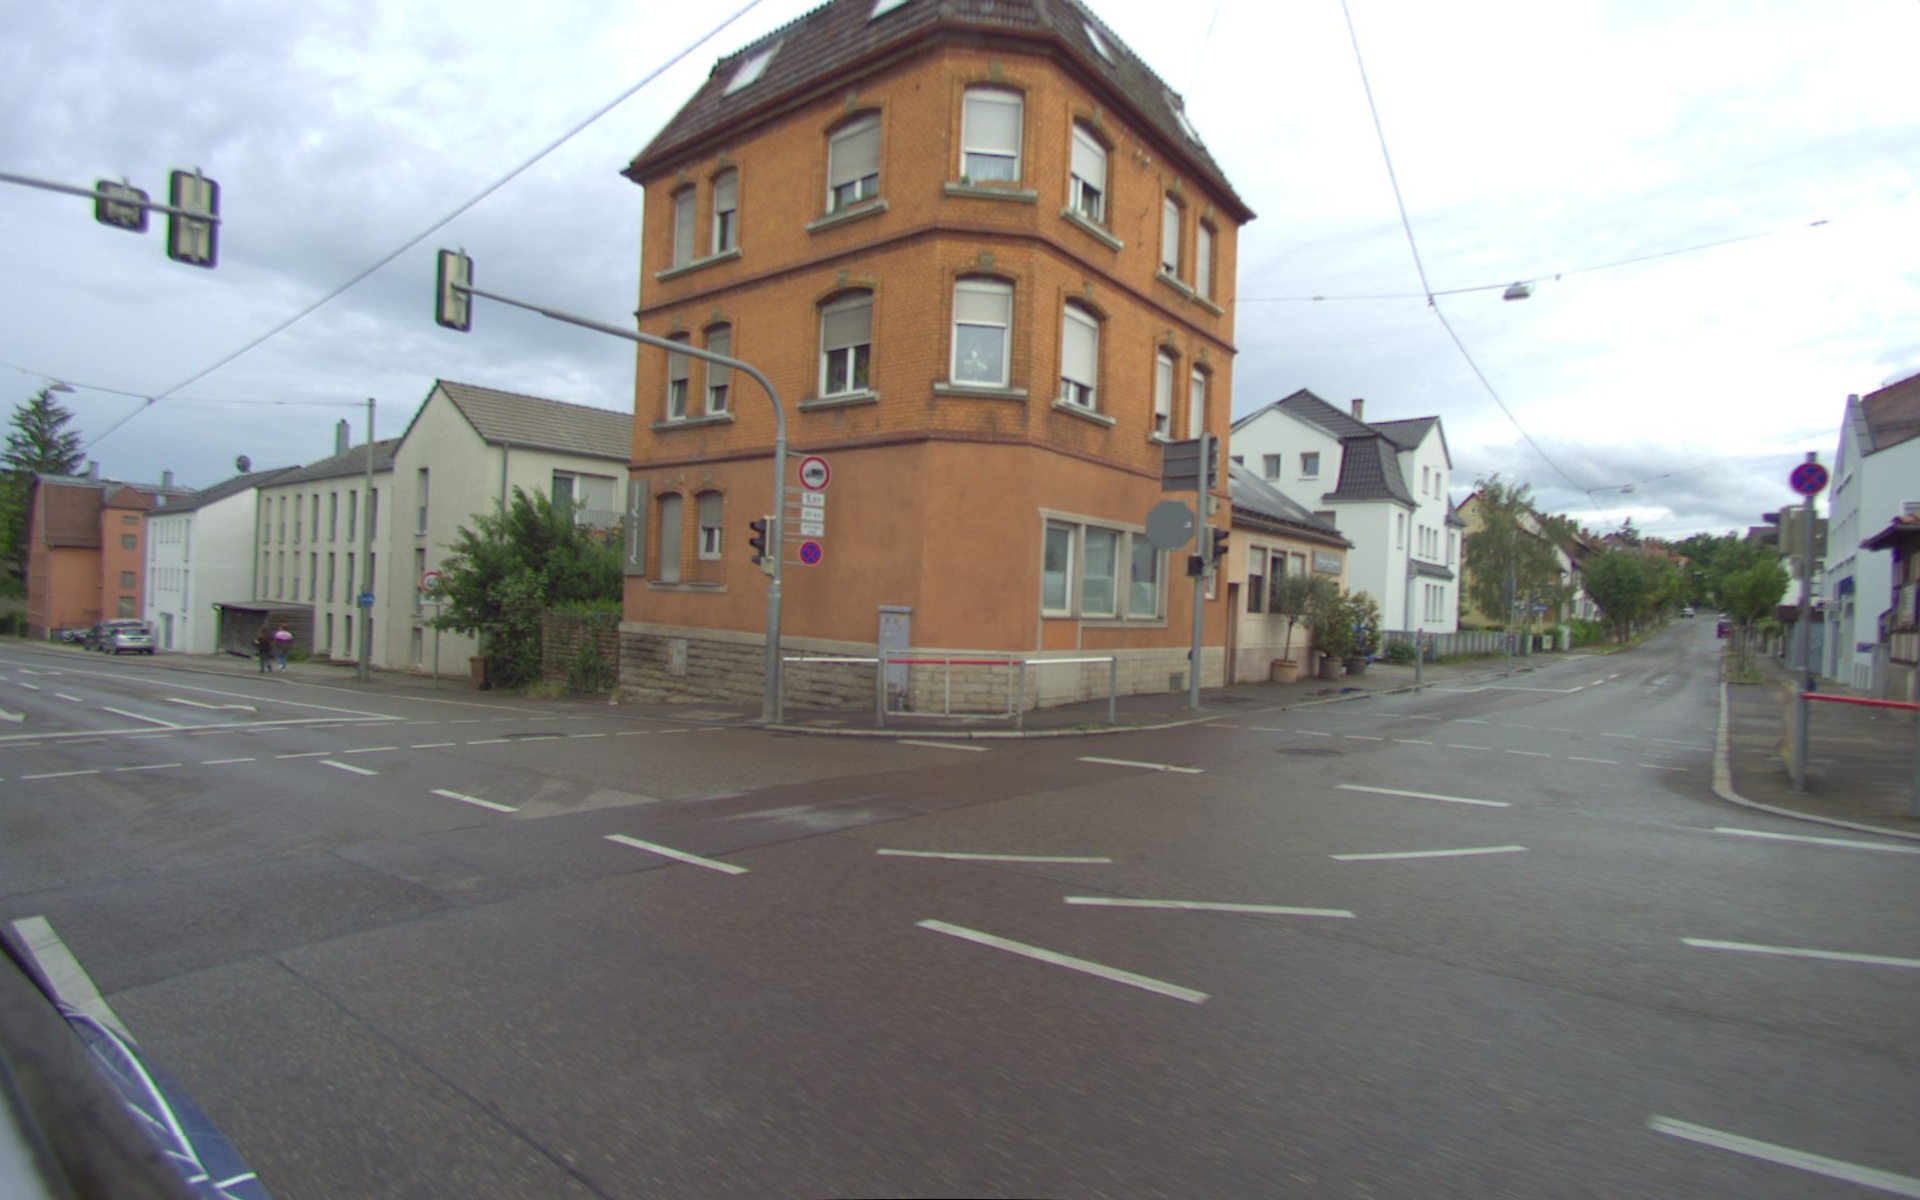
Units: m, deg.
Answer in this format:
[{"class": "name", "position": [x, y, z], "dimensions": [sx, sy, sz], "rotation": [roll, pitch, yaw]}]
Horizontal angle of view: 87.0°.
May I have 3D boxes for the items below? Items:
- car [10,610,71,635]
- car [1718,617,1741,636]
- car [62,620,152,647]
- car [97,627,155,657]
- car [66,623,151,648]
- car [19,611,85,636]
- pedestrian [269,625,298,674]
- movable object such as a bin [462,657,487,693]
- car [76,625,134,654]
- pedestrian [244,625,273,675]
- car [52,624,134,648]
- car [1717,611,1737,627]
[{"class": "car", "position": [-80.393, 1.952, 88.530], "dimensions": [3.938, 2.029, 2.003], "rotation": [0, 0, -42]}, {"class": "car", "position": [86.113, 2.978, 113.342], "dimensions": [1.997, 2.029, 3.950], "rotation": [0, 0, 37]}, {"class": "car", "position": [-58.308, 2.275, 69.208], "dimensions": [2.153, 1.620, 4.482], "rotation": [-1, 0, 43]}, {"class": "car", "position": [-44.756, 2.231, 54.281], "dimensions": [4.176, 1.519, 1.727], "rotation": [0, -2, 41]}, {"class": "car", "position": [-56.580, 2.334, 67.277], "dimensions": [1.895, 1.475, 4.082], "rotation": [-1, 0, 42]}, {"class": "car", "position": [-77.357, 1.954, 86.213], "dimensions": [1.998, 2.029, 3.947], "rotation": [0, 0, 39]}, {"class": "pedestrian", "position": [-24.267, 1.757, 36.296], "dimensions": [0.911, 1.719, 0.633], "rotation": [-1, -1, 42]}, {"class": "movable object such as a bin", "position": [-13.151, 2.025, 27.393], "dimensions": [0.525, 0.932, 0.405], "rotation": [0, 0, 35]}, {"class": "car", "position": [-49.974, 2.272, 59.137], "dimensions": [4.076, 1.564, 1.729], "rotation": [-1, 1, 37]}, {"class": "pedestrian", "position": [-24.797, 1.748, 35.776], "dimensions": [0.911, 1.719, 0.633], "rotation": [-1, -1, 42]}, {"class": "car", "position": [-60.428, 2.467, 70.575], "dimensions": [2.000, 1.444, 4.117], "rotation": [-1, 0, 43]}, {"class": "car", "position": [99.026, 2.431, 130.695], "dimensions": [1.997, 2.029, 3.950], "rotation": [0, 0, 37]}]
